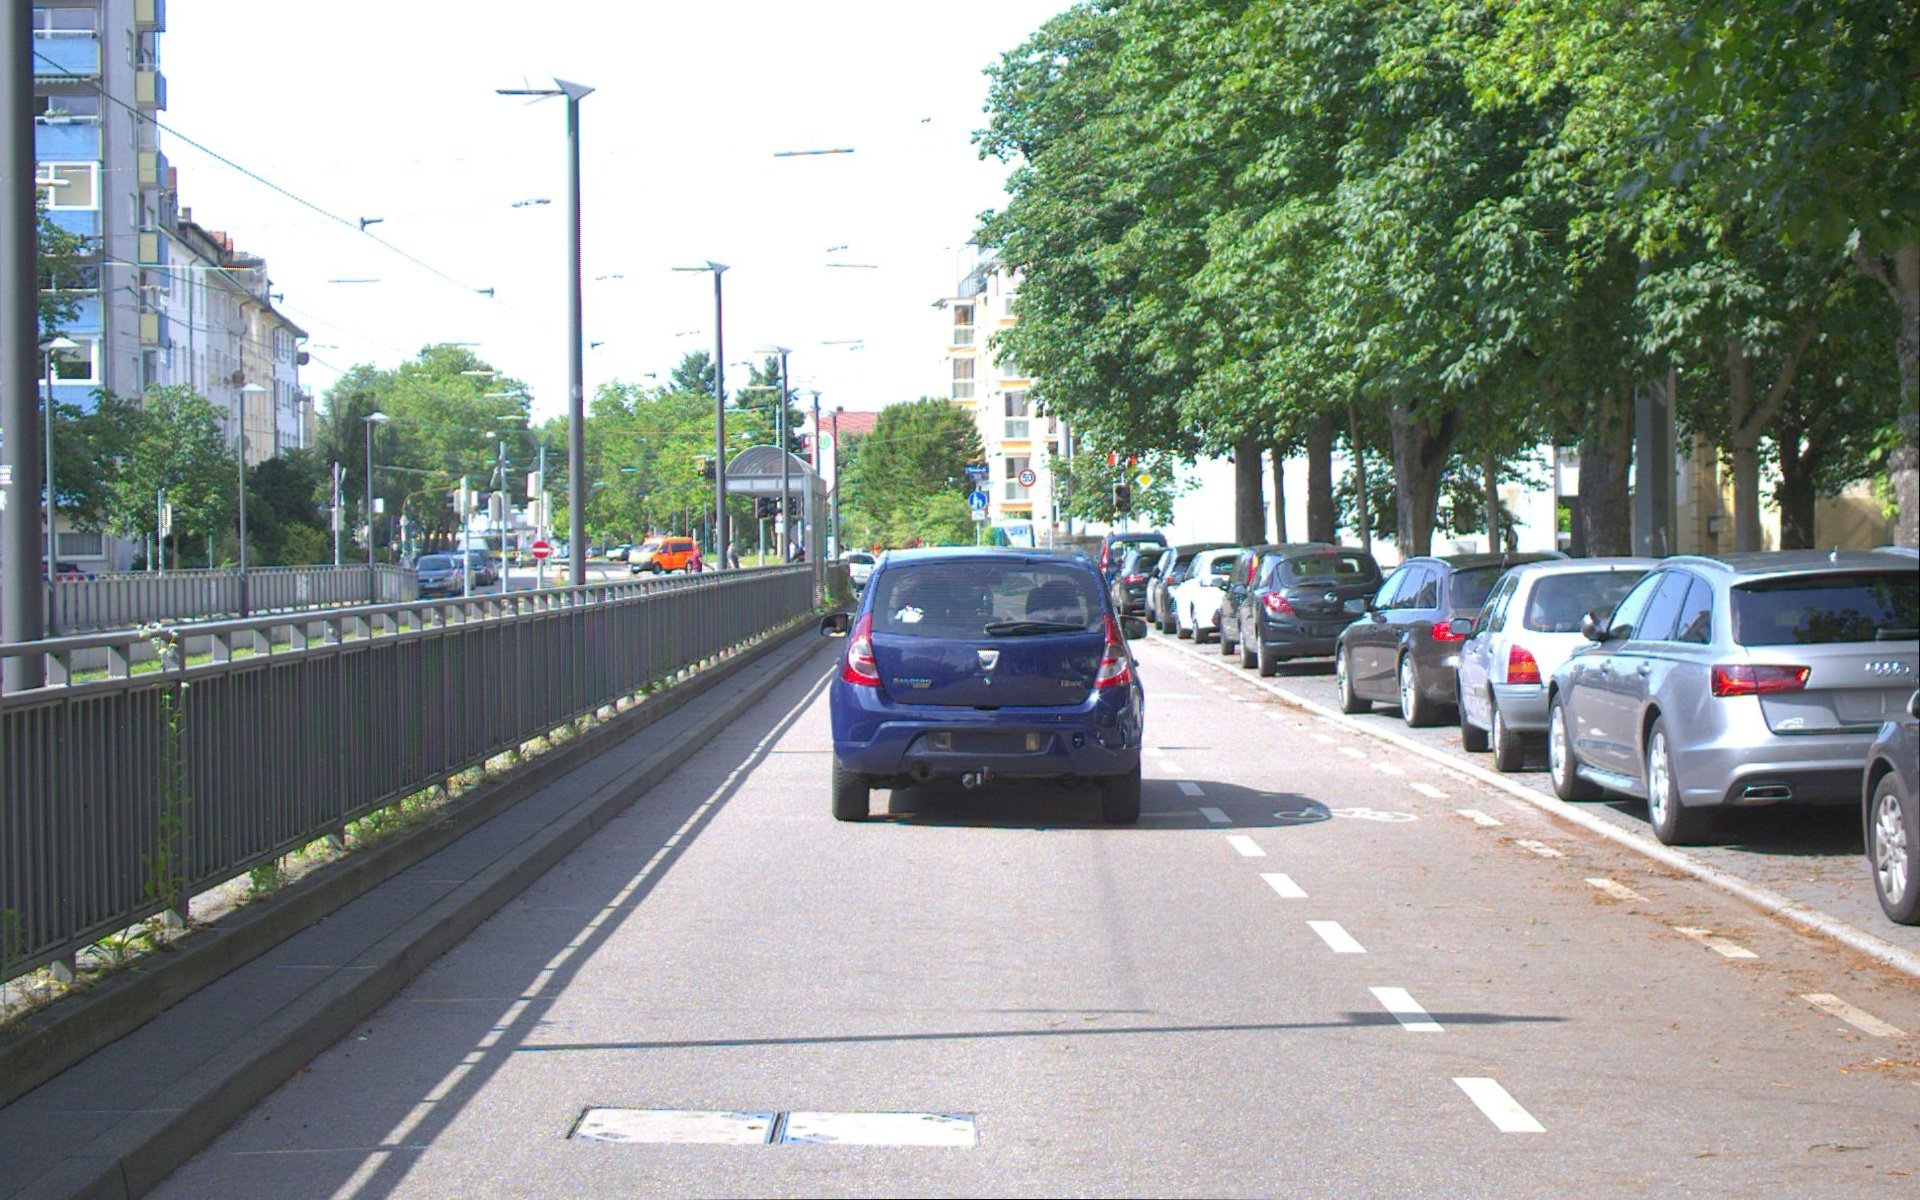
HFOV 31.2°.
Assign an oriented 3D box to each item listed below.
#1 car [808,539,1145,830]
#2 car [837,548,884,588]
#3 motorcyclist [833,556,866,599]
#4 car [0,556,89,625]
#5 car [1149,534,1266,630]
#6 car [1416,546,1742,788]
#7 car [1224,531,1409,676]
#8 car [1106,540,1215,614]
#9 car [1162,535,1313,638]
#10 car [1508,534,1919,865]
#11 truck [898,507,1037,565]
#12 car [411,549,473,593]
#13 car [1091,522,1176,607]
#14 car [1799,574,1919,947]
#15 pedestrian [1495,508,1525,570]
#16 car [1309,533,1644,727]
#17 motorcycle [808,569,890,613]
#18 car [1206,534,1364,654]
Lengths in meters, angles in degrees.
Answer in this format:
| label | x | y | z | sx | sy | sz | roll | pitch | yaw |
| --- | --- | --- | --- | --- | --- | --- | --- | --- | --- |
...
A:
| label | x | y | z | sx | sy | sz | roll | pitch | yaw |
| --- | --- | --- | --- | --- | --- | --- | --- | --- | --- |
| car | 0.059 | 0.413 | 20.074 | 1.744 | 1.502 | 4.000 | 1 | 1 | -1 |
| car | -3.798 | -1.221 | 130.869 | 1.622 | 1.460 | 3.511 | 1 | 0 | -4 |
| motorcyclist | -3.463 | -0.716 | 108.048 | 0.983 | 1.335 | 0.941 | -1 | 1 | -3 |
| car | -22.651 | -0.220 | 81.262 | 3.655 | 1.574 | 1.649 | -1 | 1 | -31 |
| car | 4.359 | -0.353 | 61.128 | 1.725 | 1.578 | 4.677 | -2 | 1 | 0 |
| car | 4.245 | 0.401 | 24.111 | 1.636 | 1.426 | 4.015 | -3 | 1 | 2 |
| car | 4.255 | 0.004 | 41.595 | 1.690 | 1.556 | 4.308 | -4 | 1 | 0 |
| car | 4.372 | -0.532 | 75.542 | 1.917 | 1.437 | 4.797 | -3 | 1 | -1 |
| car | 4.436 | -0.240 | 55.529 | 1.835 | 1.518 | 4.254 | -3 | 1 | -3 |
| car | 4.375 | 0.423 | 18.846 | 1.829 | 1.436 | 5.050 | -4 | 1 | 0 |
| truck | 0.454 | -4.035 | 217.033 | 8.353 | 3.175 | 2.605 | -4 | 1 | -7 |
| car | -19.670 | -1.102 | 130.608 | 1.993 | 1.639 | 4.001 | 1 | 0 | -4 |
| car | 4.056 | -0.860 | 80.897 | 1.823 | 1.889 | 4.184 | -2 | 1 | 1 |
| car | 4.611 | 0.608 | 12.417 | 1.829 | 1.395 | 4.657 | -4 | 1 | -1 |
| pedestrian | 14.209 | -1.567 | 88.872 | 0.631 | 1.590 | 0.540 | -1 | 0 | -3 |
| car | 4.391 | 0.243 | 29.999 | 1.831 | 1.462 | 4.832 | -3 | 0 | -4 |
| motorcycle | -3.492 | -0.289 | 108.004 | 2.508 | 1.335 | 1.018 | -1 | 1 | -6 |
| car | 4.384 | -0.082 | 46.791 | 1.555 | 1.456 | 3.559 | -4 | 0 | -3 |
